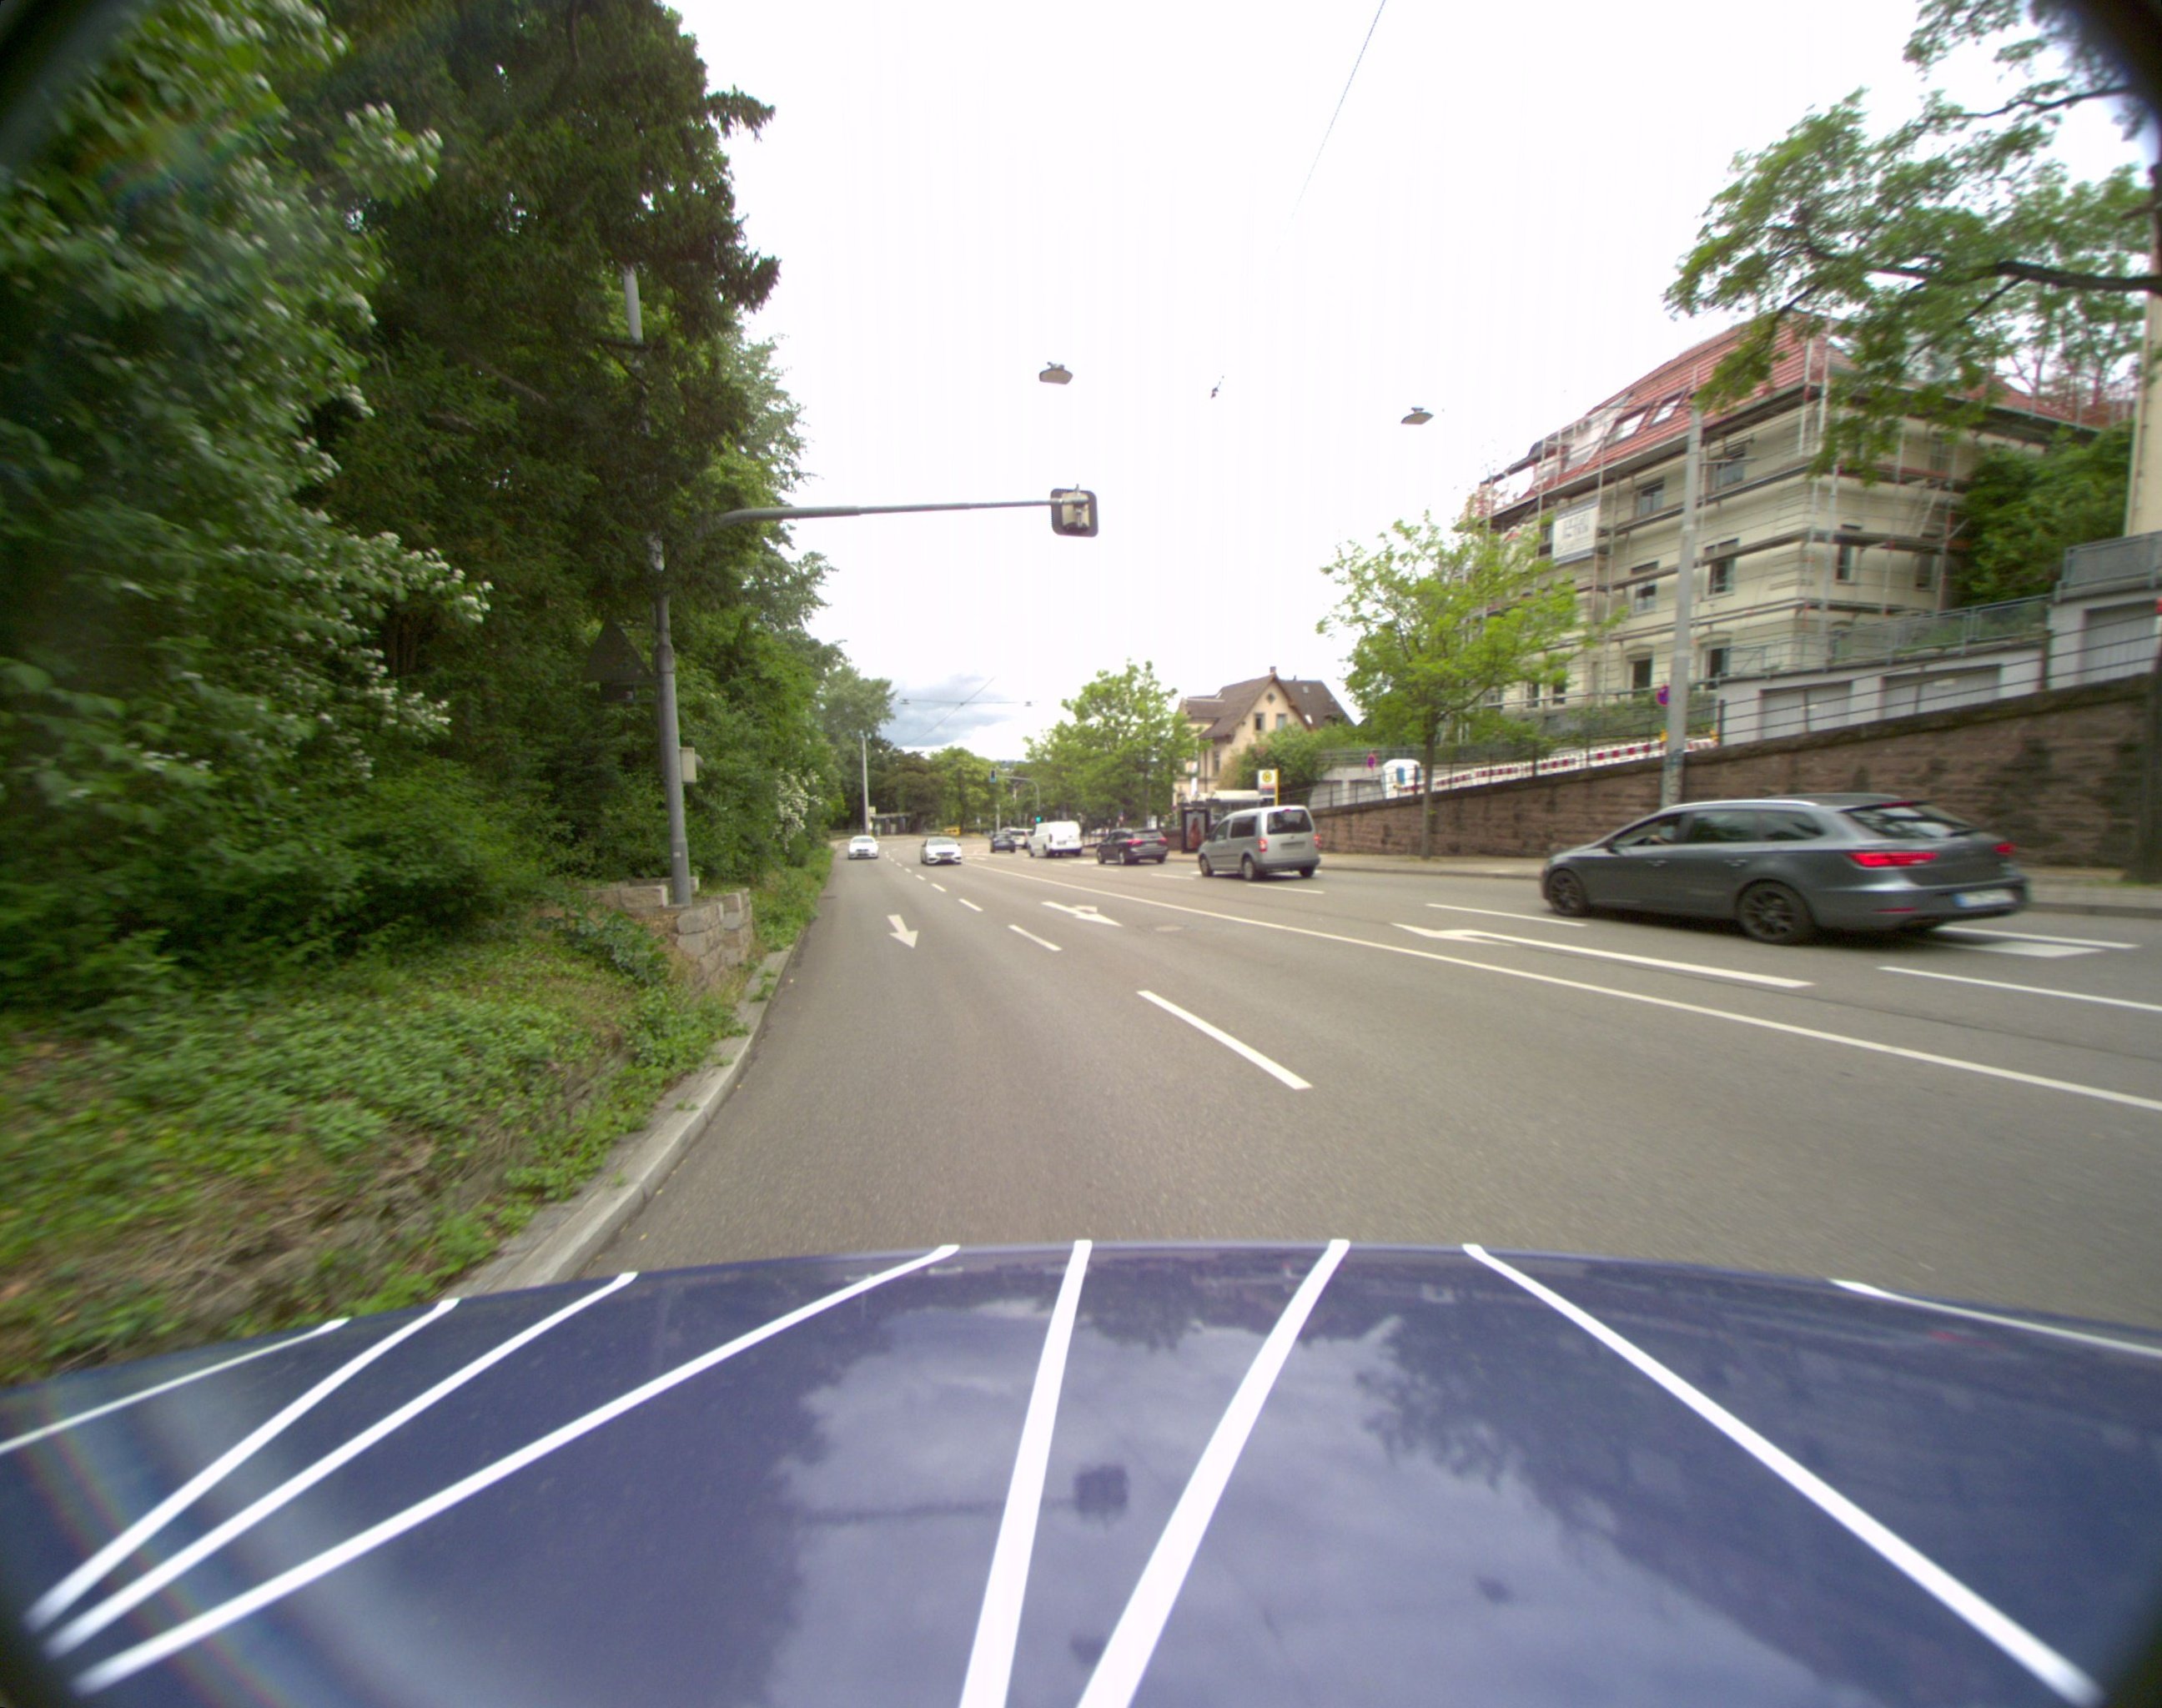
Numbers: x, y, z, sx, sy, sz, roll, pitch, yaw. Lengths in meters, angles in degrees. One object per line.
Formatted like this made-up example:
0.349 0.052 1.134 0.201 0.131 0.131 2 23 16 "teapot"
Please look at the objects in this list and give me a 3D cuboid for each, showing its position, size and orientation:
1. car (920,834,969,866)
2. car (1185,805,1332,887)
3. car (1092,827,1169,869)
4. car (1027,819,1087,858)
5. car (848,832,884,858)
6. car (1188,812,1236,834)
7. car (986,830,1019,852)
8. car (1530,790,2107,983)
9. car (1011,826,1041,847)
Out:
-7.277 -0.261 40.197 1.919 1.470 4.518 -3 3 -18 "car"
4.573 -0.256 20.349 1.863 1.804 4.442 -5 3 -15 "car"
1.930 -0.281 31.287 1.663 1.465 4.605 -4 2 -15 "car"
-1.451 -0.899 43.753 2.001 2.002 5.415 -4 2 -17 "car"
-14.171 -0.642 50.024 1.919 1.543 4.517 -2 3 -20 "car"
8.774 -2.058 51.166 1.711 1.414 3.628 0 2 -17 "car"
-5.903 -1.017 57.029 1.701 1.484 3.794 -4 3 -17 "car"
7.391 0.210 8.407 1.788 1.458 4.398 -4 2 -8 "car"
-5.213 -1.692 72.360 1.797 1.854 4.852 -1 2 8 "car"
